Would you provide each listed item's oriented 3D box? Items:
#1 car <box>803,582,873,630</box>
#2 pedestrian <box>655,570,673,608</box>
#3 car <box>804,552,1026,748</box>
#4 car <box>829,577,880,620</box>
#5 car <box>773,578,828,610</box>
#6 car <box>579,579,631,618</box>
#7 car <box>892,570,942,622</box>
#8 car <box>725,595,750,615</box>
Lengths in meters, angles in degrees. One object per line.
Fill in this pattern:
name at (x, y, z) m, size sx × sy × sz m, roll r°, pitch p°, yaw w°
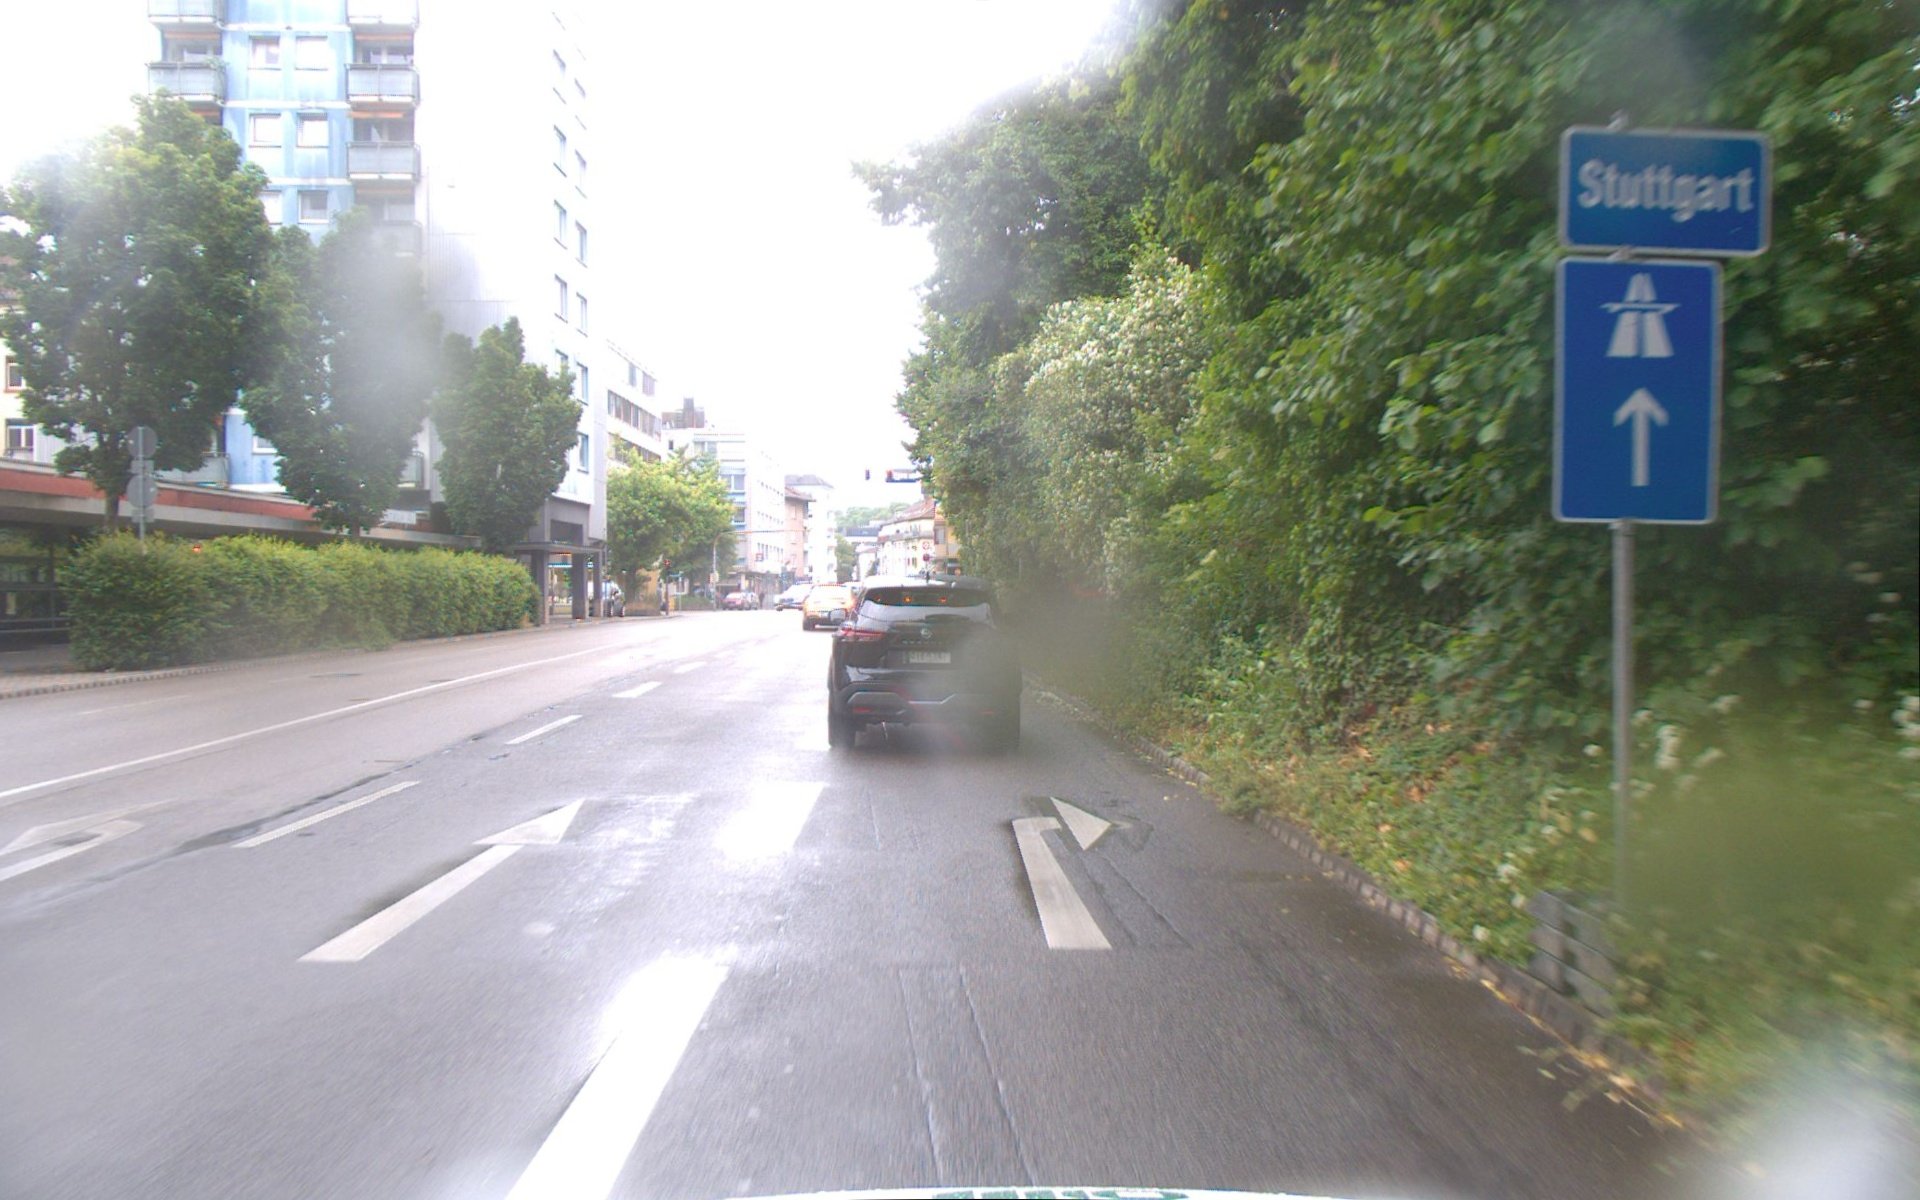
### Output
car at (-3.936, 0.171, 54.053) m, size 2.024 × 1.489 × 4.586 m, roll 0°, pitch 1°, yaw -1°
pedestrian at (-16.316, -0.616, 91.084) m, size 0.923 × 2.049 × 0.884 m, roll -1°, pitch 0°, yaw -11°
car at (-0.475, 0.407, 16.413) m, size 1.920 × 1.681 × 3.998 m, roll -1°, pitch 1°, yaw -3°
car at (-3.864, -0.054, 60.867) m, size 1.708 × 1.513 × 4.160 m, roll -1°, pitch 0°, yaw -2°
car at (-9.052, -0.360, 94.177) m, size 1.951 × 1.780 × 4.812 m, roll -1°, pitch 0°, yaw 9°
car at (-16.275, -0.089, 75.941) m, size 1.508 × 1.735 × 4.286 m, roll 1°, pitch 0°, yaw -1°
car at (-1.769, -0.175, 66.887) m, size 1.953 × 2.049 × 3.998 m, roll 0°, pitch 1°, yaw -2°
car at (-17.989, 0.410, 133.901) m, size 1.639 × 1.504 × 3.606 m, roll -2°, pitch 0°, yaw -3°
